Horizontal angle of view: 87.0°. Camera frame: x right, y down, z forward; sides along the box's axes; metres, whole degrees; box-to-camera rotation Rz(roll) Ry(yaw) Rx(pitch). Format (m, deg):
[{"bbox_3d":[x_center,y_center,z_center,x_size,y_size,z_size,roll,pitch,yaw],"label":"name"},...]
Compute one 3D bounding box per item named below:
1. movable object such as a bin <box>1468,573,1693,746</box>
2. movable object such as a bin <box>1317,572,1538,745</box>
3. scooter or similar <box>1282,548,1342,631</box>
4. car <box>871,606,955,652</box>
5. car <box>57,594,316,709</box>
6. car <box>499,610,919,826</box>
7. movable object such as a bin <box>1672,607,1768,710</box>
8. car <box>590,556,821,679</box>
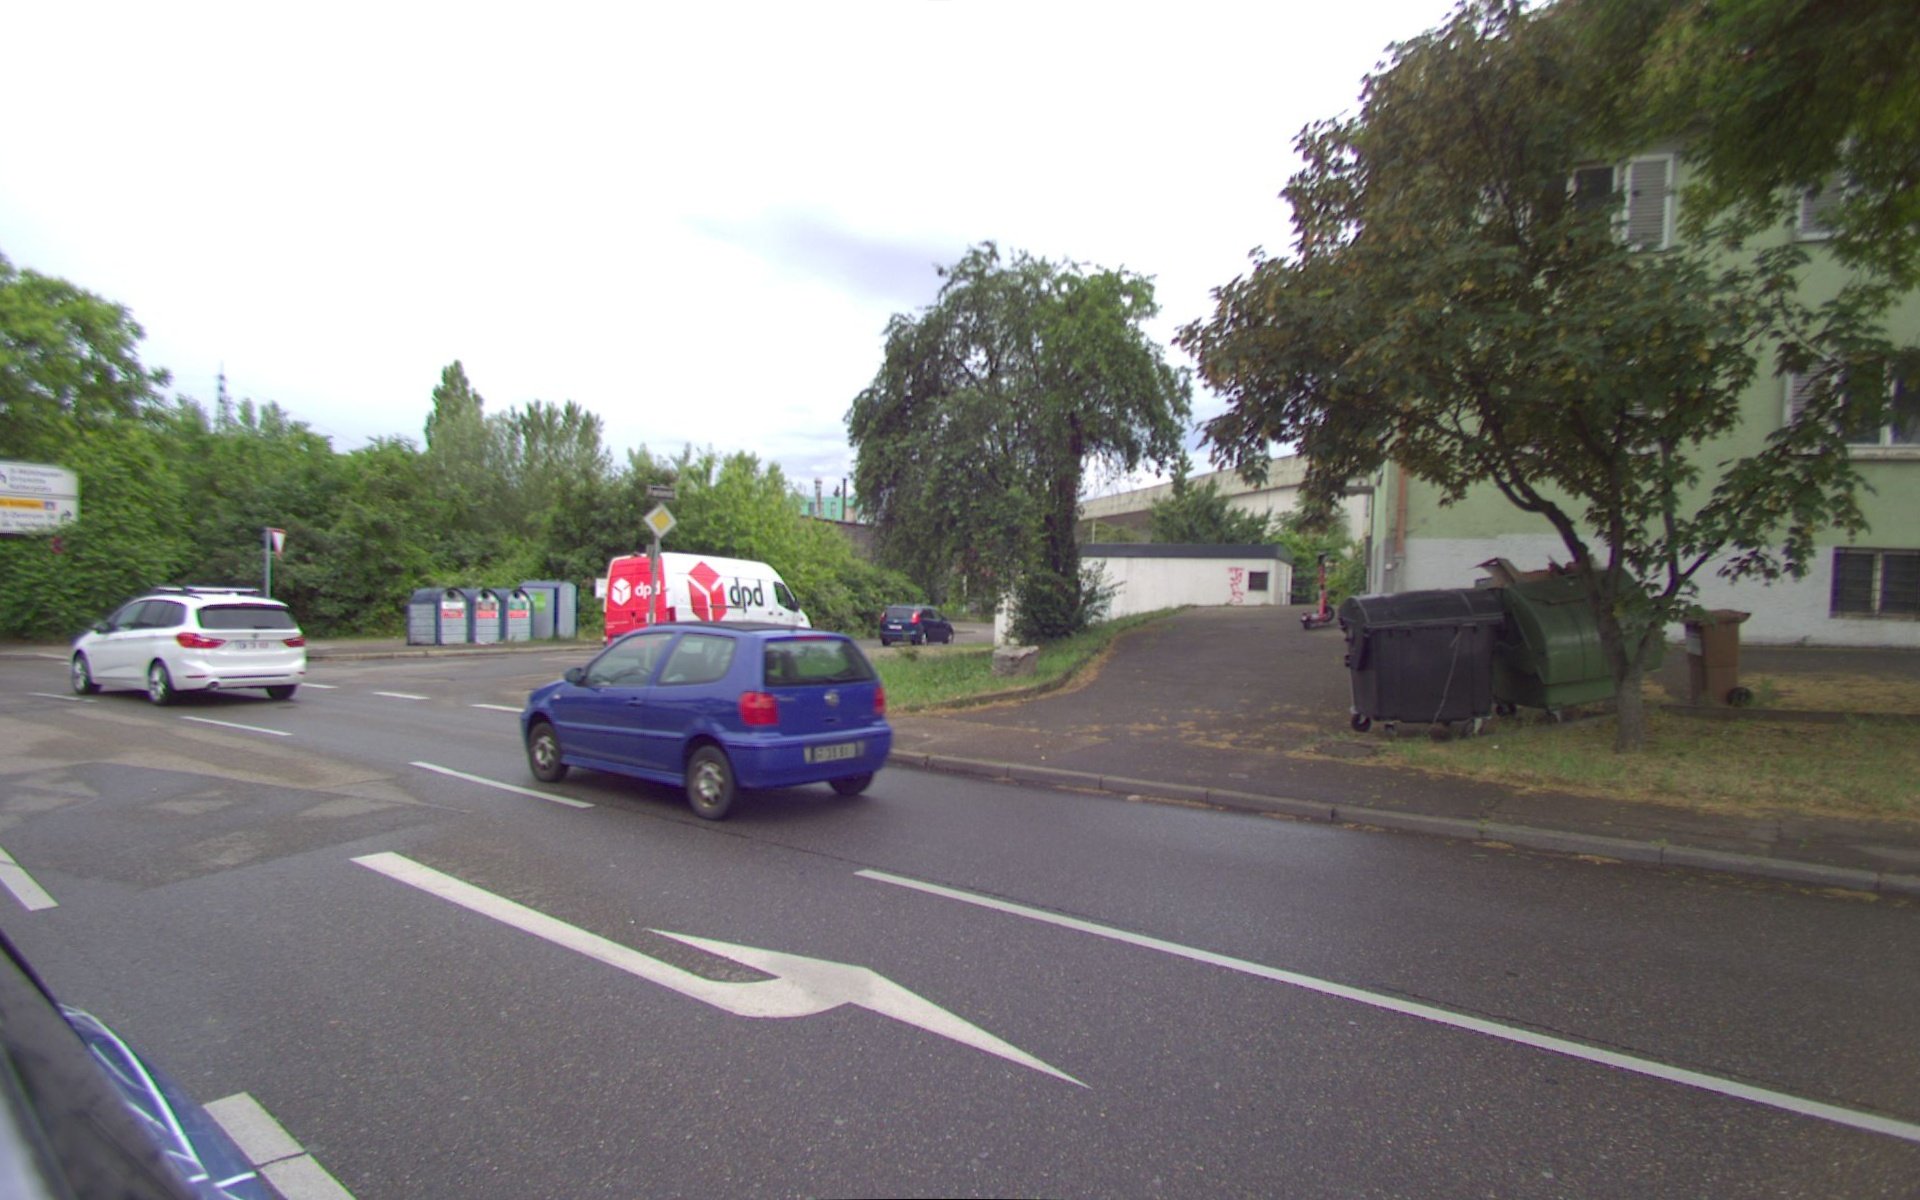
[{"bbox_3d":[6.040,0.534,9.937,1.440,1.448,1.102,-5,3,-6],"label":"movable object such as a bin"},{"bbox_3d":[4.585,0.525,10.051,1.440,1.448,1.296,-5,3,-6],"label":"movable object such as a bin"},{"bbox_3d":[5.881,-0.200,16.854,0.529,1.283,1.507,1,4,36],"label":"scooter or similar"},{"bbox_3d":[-1.804,1.096,40.136,1.984,1.642,4.227,1,0,18],"label":"car"},{"bbox_3d":[-12.145,0.709,15.829,4.319,1.590,1.818,0,0,32],"label":"car"},{"bbox_3d":[-2.248,0.811,8.593,3.693,1.436,1.582,0,0,39],"label":"car"},{"bbox_3d":[7.542,0.556,10.047,0.723,0.964,0.551,1,0,41],"label":"movable object such as a bin"},{"bbox_3d":[-6.128,0.363,25.661,2.247,2.675,6.777,1,0,20],"label":"car"}]
